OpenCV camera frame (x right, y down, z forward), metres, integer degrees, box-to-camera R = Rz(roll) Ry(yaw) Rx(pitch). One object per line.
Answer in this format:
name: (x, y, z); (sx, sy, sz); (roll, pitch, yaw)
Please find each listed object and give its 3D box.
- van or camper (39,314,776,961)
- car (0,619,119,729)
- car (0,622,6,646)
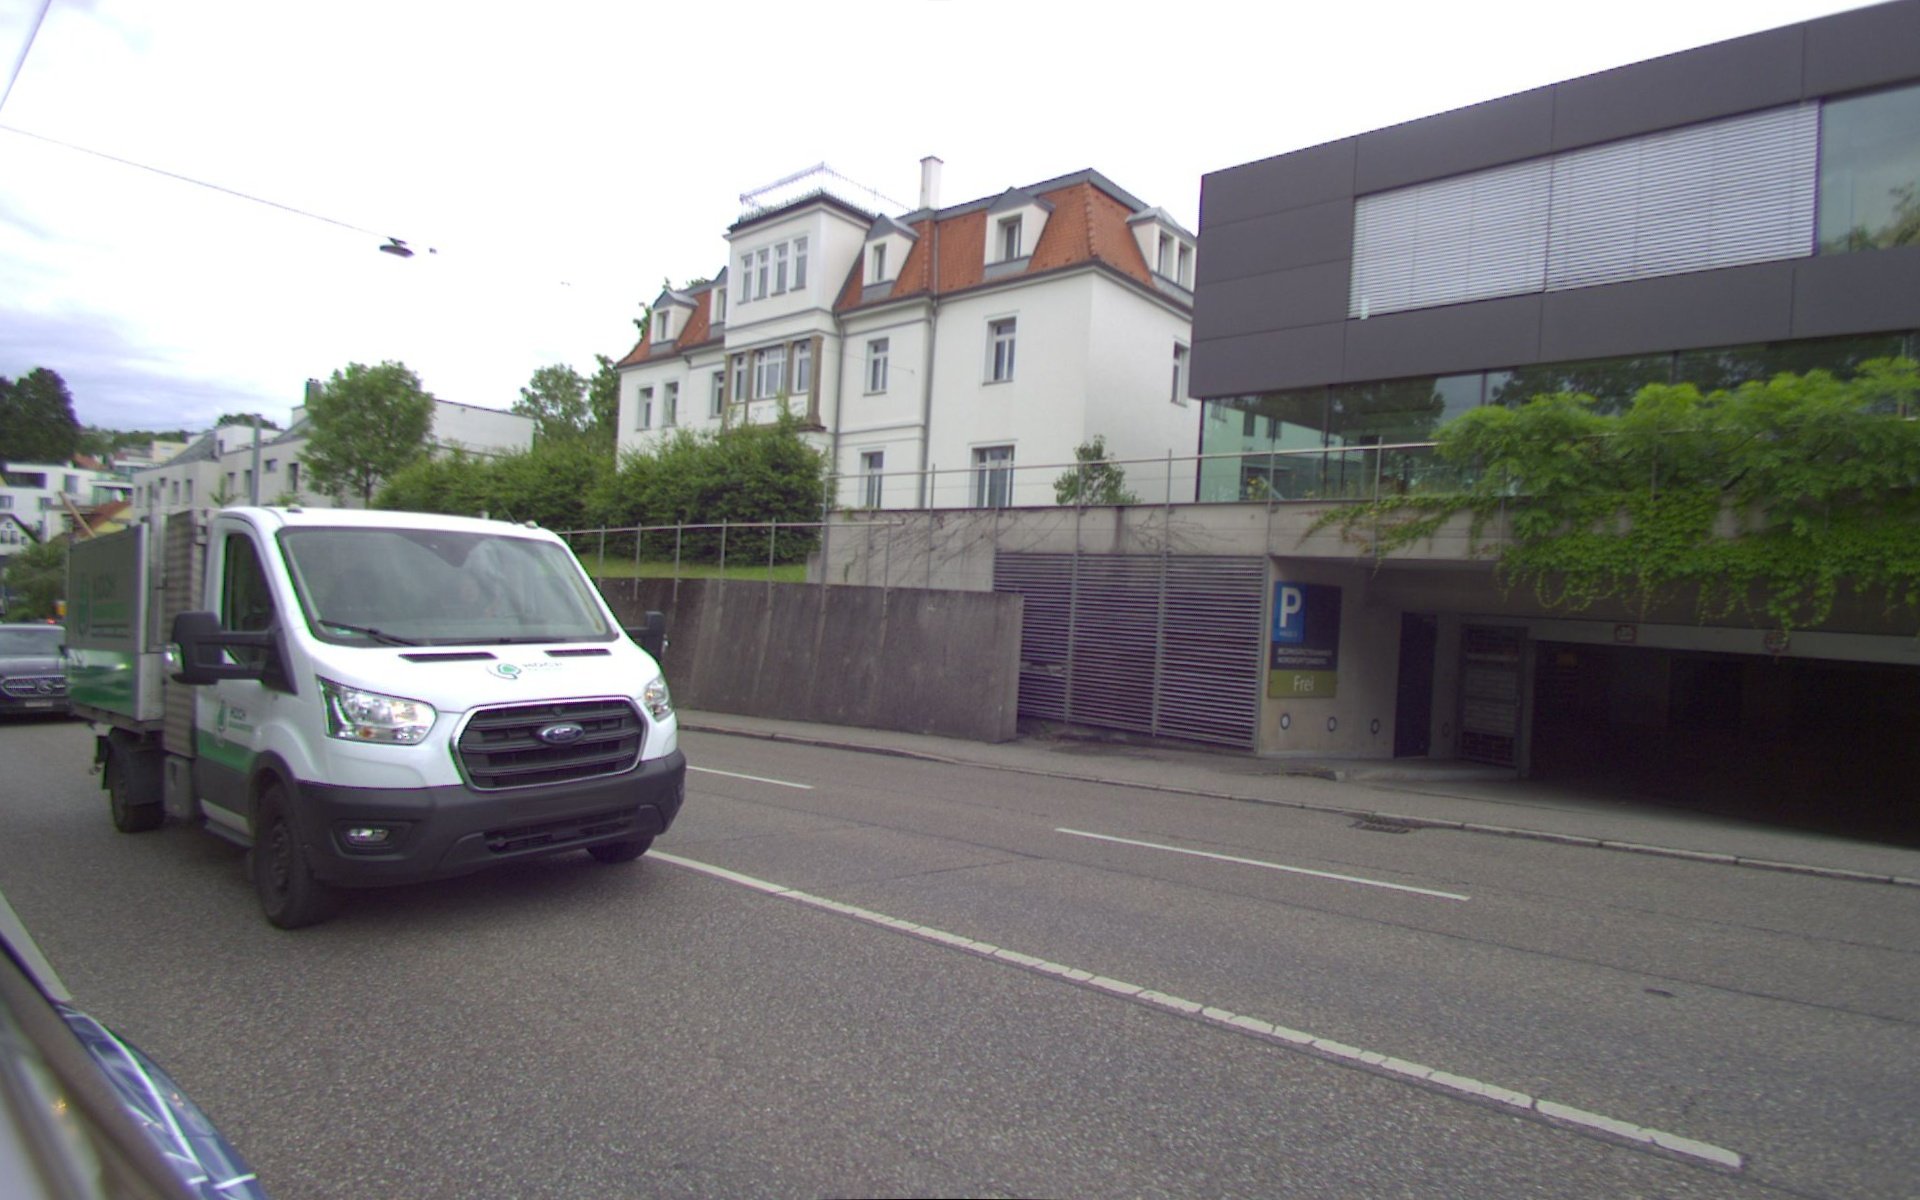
van or camper: (-4.141, 0.230, 6.971); (5.957, 2.682, 2.320); (-2, -2, 38)
car: (-14.905, 1.080, 15.960); (4.333, 1.542, 1.854); (-1, -2, 42)
car: (-70.741, 2.450, 73.532); (3.866, 1.725, 1.687); (-1, -3, 41)
